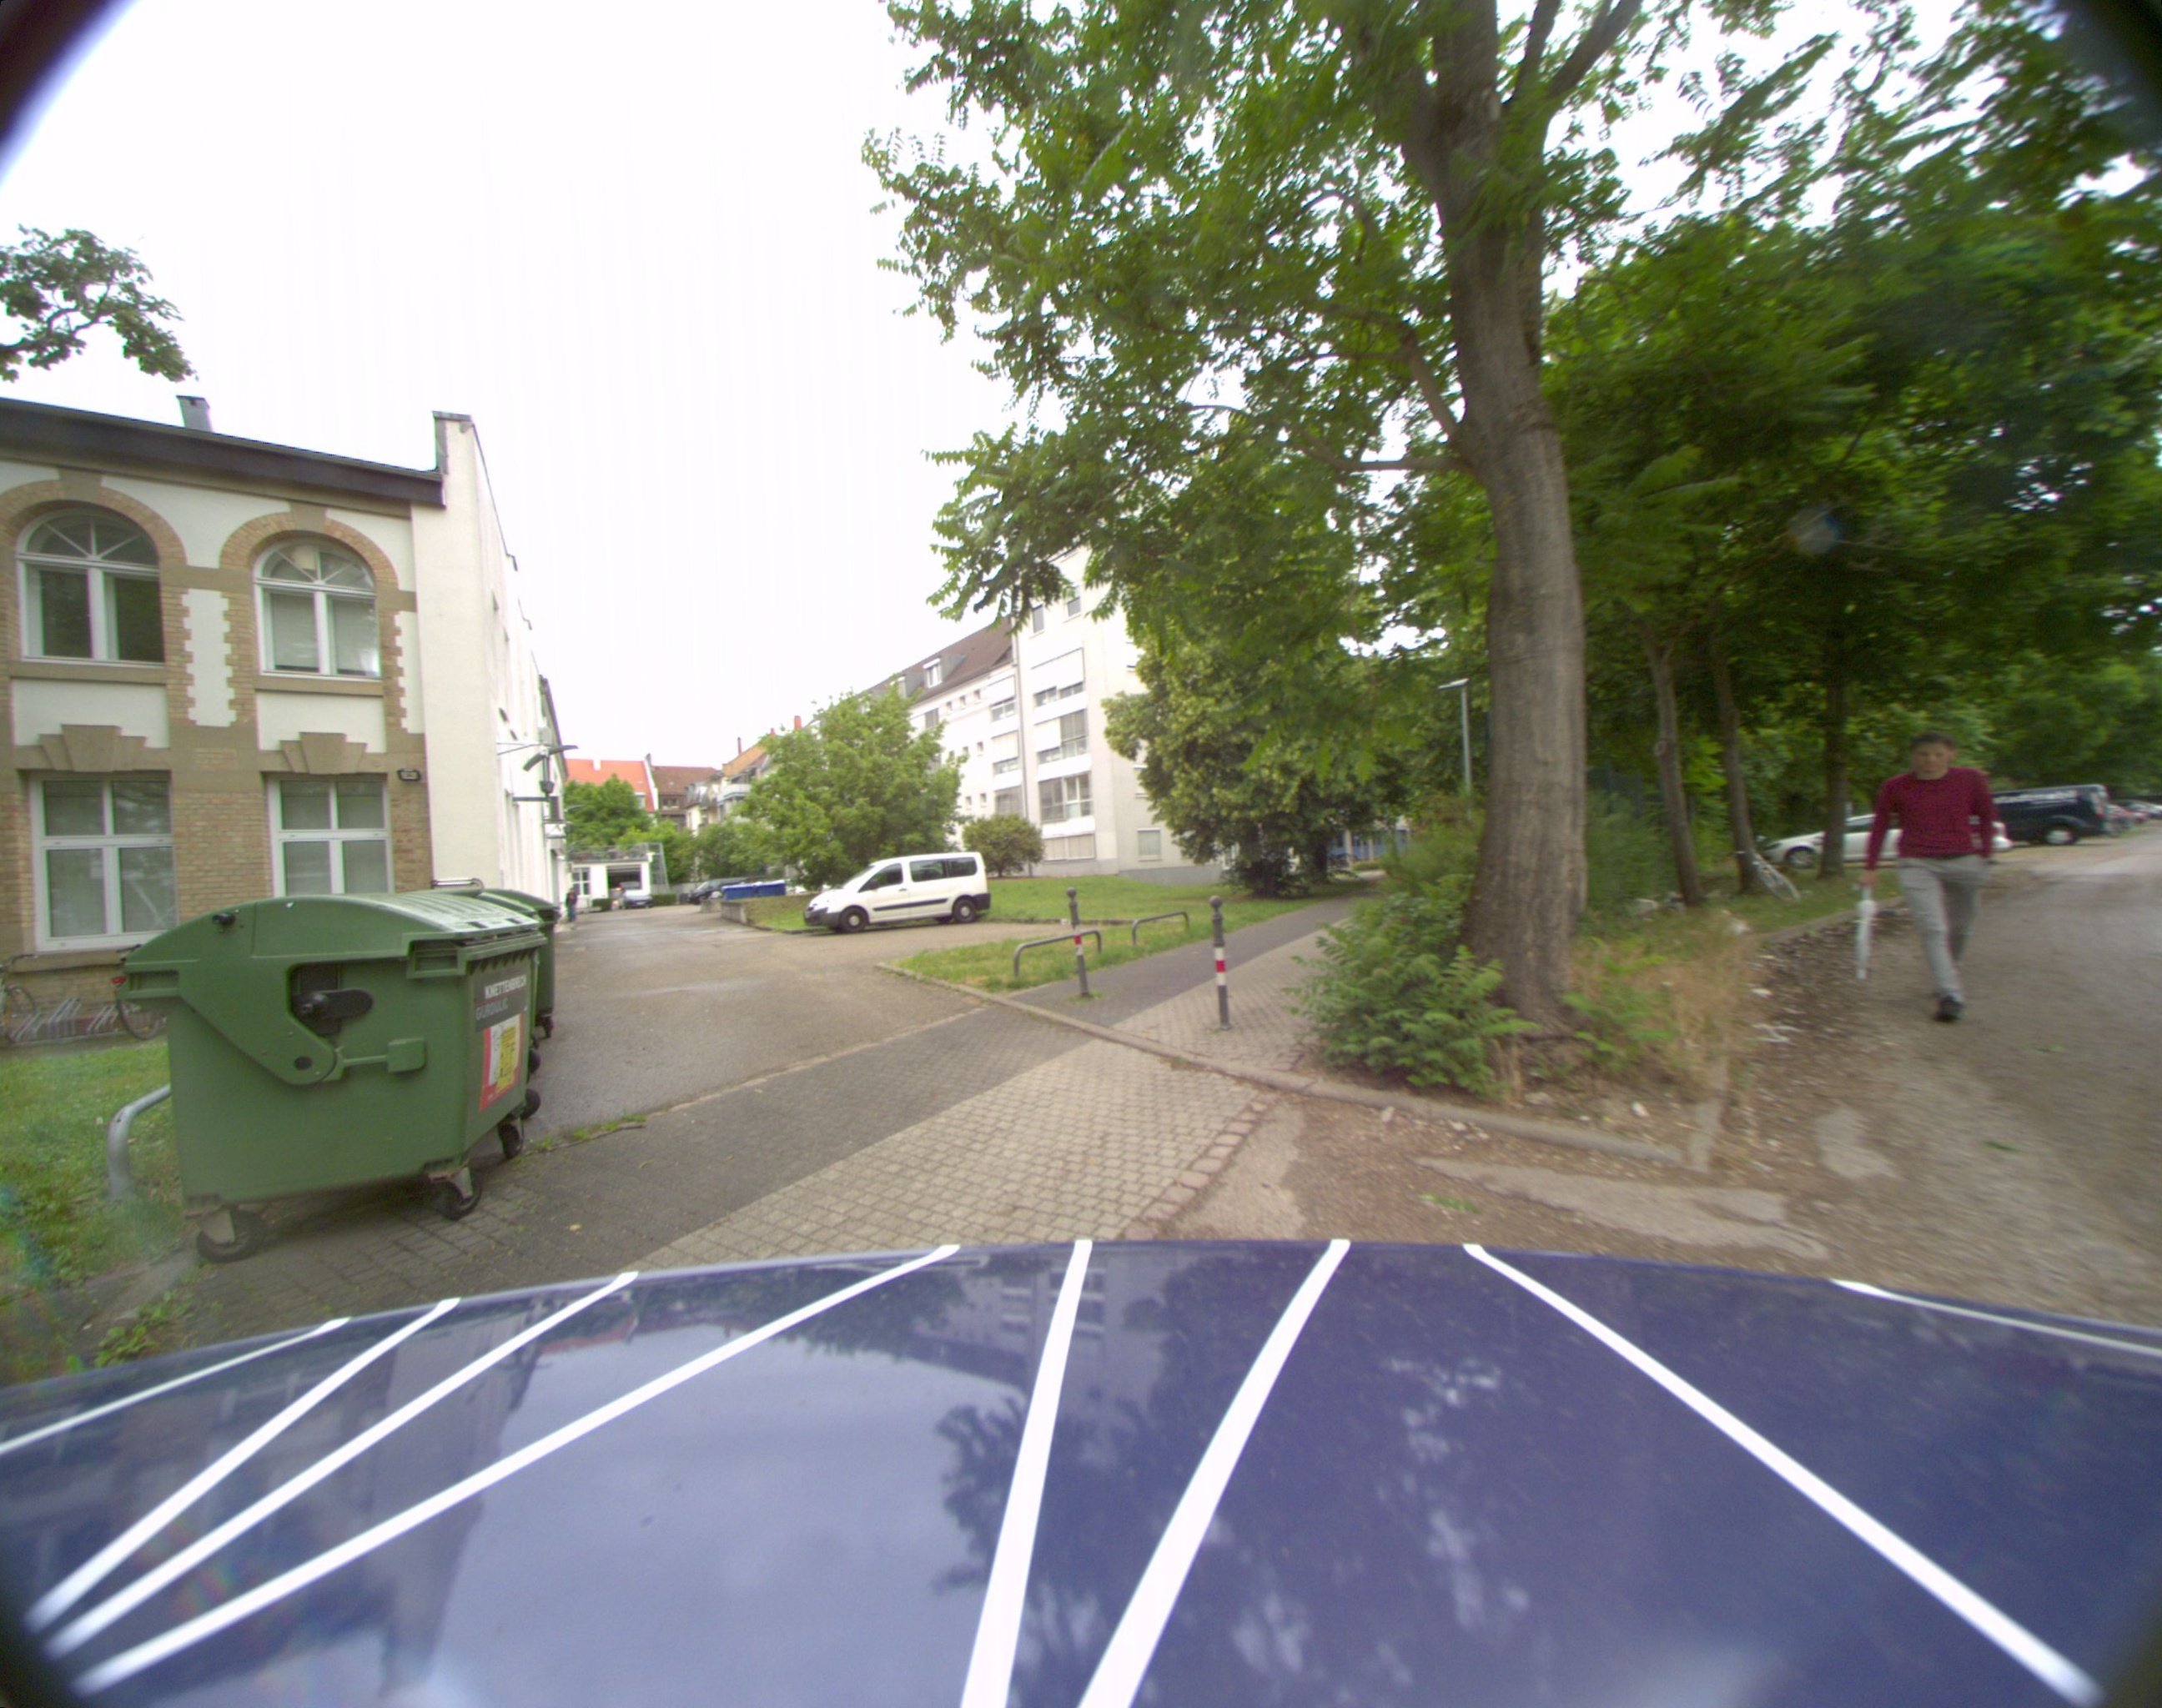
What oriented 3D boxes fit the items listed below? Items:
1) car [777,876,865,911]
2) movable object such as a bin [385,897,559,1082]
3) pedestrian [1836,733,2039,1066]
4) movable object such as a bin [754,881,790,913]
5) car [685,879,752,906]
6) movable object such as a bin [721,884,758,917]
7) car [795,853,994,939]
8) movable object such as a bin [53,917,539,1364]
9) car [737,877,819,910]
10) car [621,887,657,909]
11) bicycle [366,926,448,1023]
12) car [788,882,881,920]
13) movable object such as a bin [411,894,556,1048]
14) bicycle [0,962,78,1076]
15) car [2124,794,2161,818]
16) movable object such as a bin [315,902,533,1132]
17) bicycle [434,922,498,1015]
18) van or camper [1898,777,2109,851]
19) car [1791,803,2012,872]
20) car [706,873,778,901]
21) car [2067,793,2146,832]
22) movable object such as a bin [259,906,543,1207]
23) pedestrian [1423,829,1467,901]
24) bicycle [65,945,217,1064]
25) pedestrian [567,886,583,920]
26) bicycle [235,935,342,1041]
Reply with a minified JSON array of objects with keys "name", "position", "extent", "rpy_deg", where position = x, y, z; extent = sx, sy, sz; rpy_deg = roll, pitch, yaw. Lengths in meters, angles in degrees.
[{"name":"car","position":[-15.219,2.289,44.549],"extent":[4.349,1.724,1.995],"rpy_deg":[-3,0,-38]},{"name":"movable object such as a bin","position":[-5.676,1.174,7.178],"extent":[1.110,1.442,1.323],"rpy_deg":[-4,0,-36]},{"name":"pedestrian","position":[6.027,0.268,5.340],"extent":[1.203,2.052,0.793],"rpy_deg":[-3,1,-36]},{"name":"movable object such as a bin","position":[-13.640,1.904,33.498],"extent":[1.183,1.299,1.225],"rpy_deg":[-4,0,-34]},{"name":"car","position":[-28.532,3.005,59.797],"extent":[4.349,1.724,1.995],"rpy_deg":[-3,0,-38]},{"name":"movable object such as a bin","position":[-14.707,2.011,32.701],"extent":[1.183,1.299,1.225],"rpy_deg":[-4,0,-34]},{"name":"car","position":[-4.992,1.099,20.589],"extent":[4.780,1.861,1.898],"rpy_deg":[-3,-2,-31]},{"name":"movable object such as a bin","position":[-3.338,1.081,3.483],"extent":[1.073,1.426,1.273],"rpy_deg":[-3,1,-23]},{"name":"car","position":[-19.227,2.480,48.269],"extent":[4.349,1.724,1.995],"rpy_deg":[-3,0,-38]},{"name":"car","position":[-33.055,3.289,56.756],"extent":[1.923,1.390,3.990],"rpy_deg":[-4,1,-35]},{"name":"bicycle","position":[-9.244,1.605,10.472],"extent":[0.461,1.108,1.741],"rpy_deg":[-3,0,-30]},{"name":"car","position":[-13.548,2.531,41.874],"extent":[4.349,1.724,1.995],"rpy_deg":[-3,0,-38]},{"name":"movable object such as a bin","position":[-6.608,1.214,8.454],"extent":[1.111,1.442,1.359],"rpy_deg":[-4,0,-38]},{"name":"bicycle","position":[-12.064,1.852,8.426],"extent":[0.461,1.108,1.741],"rpy_deg":[-3,0,-30]},{"name":"car","position":[78.004,-3.537,55.501],"extent":[4.007,1.586,1.995],"rpy_deg":[-3,0,-37]},{"name":"movable object such as a bin","position":[-5.039,1.149,5.965],"extent":[1.110,1.442,1.291],"rpy_deg":[-4,0,-36]},{"name":"bicycle","position":[-8.707,1.571,10.801],"extent":[0.461,1.108,1.741],"rpy_deg":[-3,0,-32]},{"name":"van or camper","position":[32.601,-1.356,26.997],"extent":[2.003,2.245,4.491],"rpy_deg":[-4,0,-32]},{"name":"car","position":[21.773,-0.404,20.375],"extent":[1.755,1.565,3.876],"rpy_deg":[-4,0,-44]},{"name":"car","position":[-24.808,2.422,55.637],"extent":[4.349,1.724,1.995],"rpy_deg":[-3,0,-38]},{"name":"car","position":[47.186,-1.893,35.040],"extent":[4.007,1.586,1.817],"rpy_deg":[-3,0,-41]},{"name":"movable object such as a bin","position":[-4.118,1.108,4.778],"extent":[1.110,1.442,1.283],"rpy_deg":[-4,0,-35]},{"name":"pedestrian","position":[9.103,0.270,19.025],"extent":[0.622,1.739,0.680],"rpy_deg":[-3,0,-28]},{"name":"bicycle","position":[-11.093,1.723,9.039],"extent":[0.461,1.108,1.741],"rpy_deg":[-3,0,-29]},{"name":"pedestrian","position":[-23.800,2.299,35.724],"extent":[0.500,1.553,0.428],"rpy_deg":[-3,0,-37]},{"name":"bicycle","position":[-10.218,1.673,9.856],"extent":[0.461,1.108,1.741],"rpy_deg":[-3,0,-30]}]
